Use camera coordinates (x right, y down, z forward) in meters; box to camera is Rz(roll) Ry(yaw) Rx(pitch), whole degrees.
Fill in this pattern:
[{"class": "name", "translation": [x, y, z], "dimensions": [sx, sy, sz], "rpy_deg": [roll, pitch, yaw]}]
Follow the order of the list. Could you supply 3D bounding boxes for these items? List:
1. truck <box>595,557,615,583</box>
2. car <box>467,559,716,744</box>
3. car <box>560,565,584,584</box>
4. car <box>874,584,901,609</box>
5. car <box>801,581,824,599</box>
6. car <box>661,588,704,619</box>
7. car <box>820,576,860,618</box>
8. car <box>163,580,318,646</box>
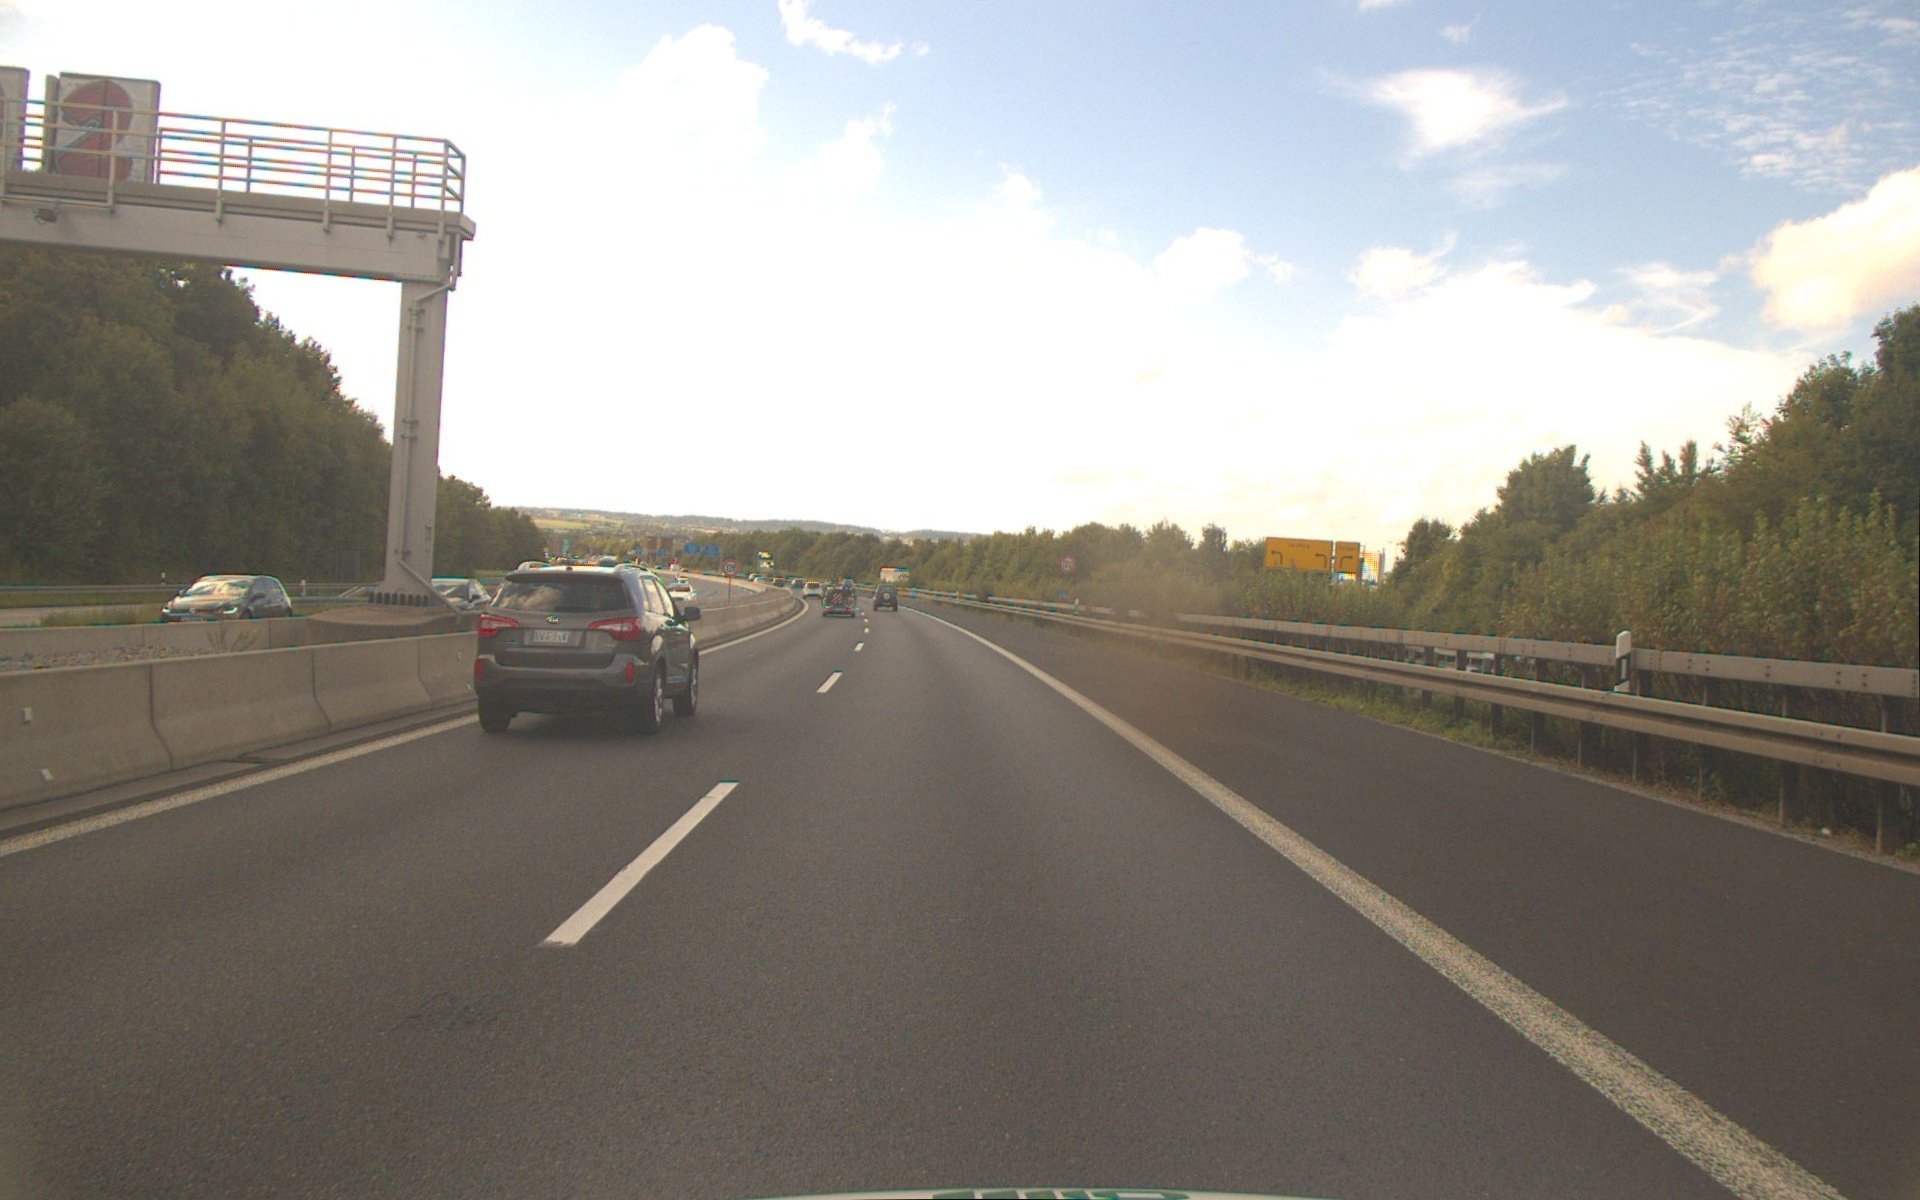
[{"class": "truck", "translation": [-54.091, -4.523, 251.589], "dimensions": [2.761, 3.893, 7.105], "rpy_deg": [1, 0, -13]}, {"class": "car", "translation": [-3.963, 0.490, 18.684], "dimensions": [1.781, 1.766, 5.184], "rpy_deg": [1, 0, -2]}, {"class": "car", "translation": [-43.573, -2.824, 185.690], "dimensions": [1.954, 2.049, 3.997], "rpy_deg": [2, 0, -4]}, {"class": "car", "translation": [-4.916, -0.265, 111.237], "dimensions": [1.556, 1.624, 4.091], "rpy_deg": [1, 1, -6]}, {"class": "car", "translation": [-15.060, -1.043, 168.638], "dimensions": [1.957, 1.713, 3.991], "rpy_deg": [1, -1, -9]}, {"class": "car", "translation": [-15.659, 0.177, 93.444], "dimensions": [1.729, 1.608, 4.930], "rpy_deg": [2, 0, -2]}, {"class": "car", "translation": [-6.437, -0.188, 88.839], "dimensions": [1.990, 2.189, 3.998], "rpy_deg": [1, 1, -3]}, {"class": "car", "translation": [-16.643, 0.274, 38.511], "dimensions": [1.632, 1.420, 4.600], "rpy_deg": [1, 0, -1]}]
